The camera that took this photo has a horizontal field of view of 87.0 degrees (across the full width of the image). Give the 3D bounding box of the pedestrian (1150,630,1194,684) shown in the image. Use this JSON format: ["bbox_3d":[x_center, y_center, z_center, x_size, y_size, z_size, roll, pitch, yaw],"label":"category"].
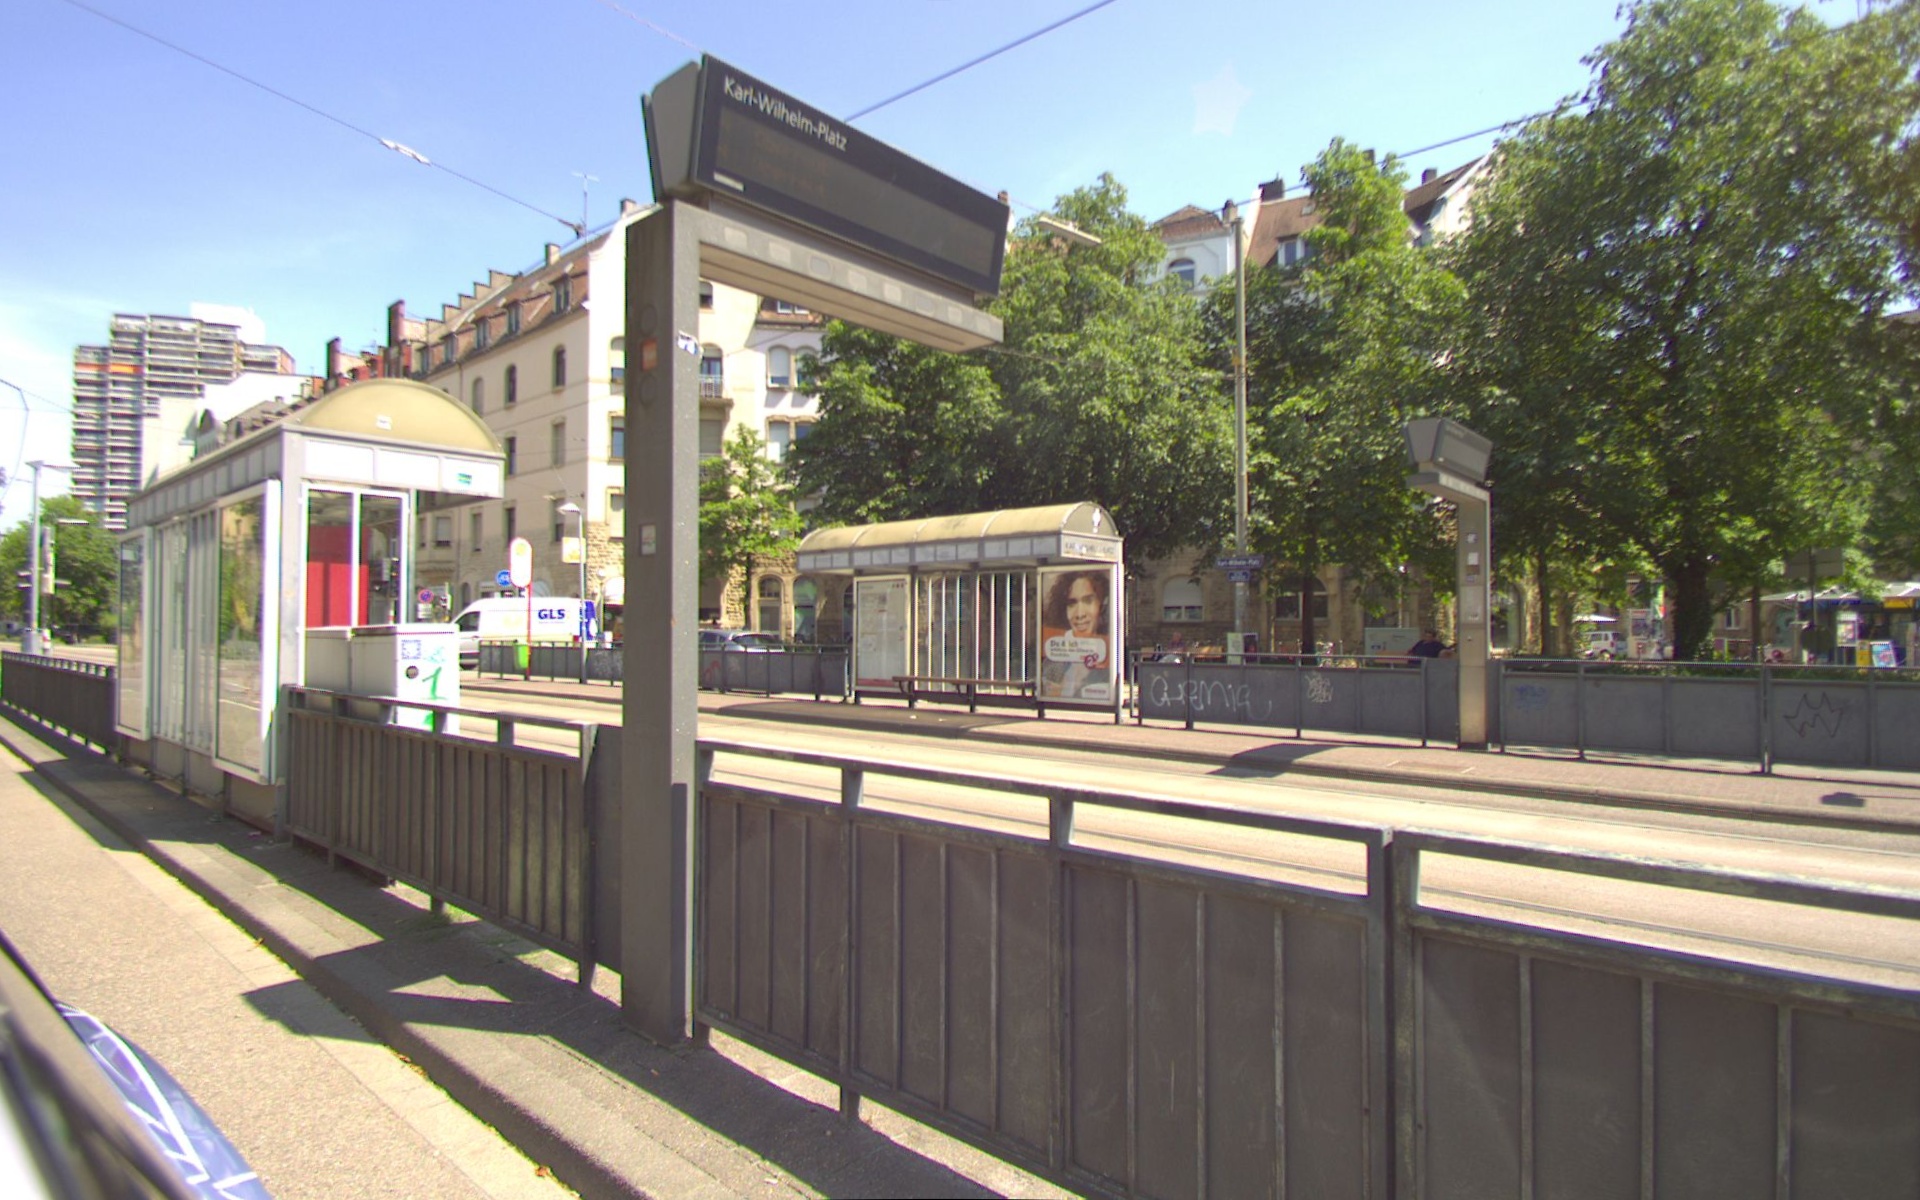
[{"bbox_3d":[5.098,1.356,24.309,0.930,1.253,0.860,-1,0,17],"label":"pedestrian"}]

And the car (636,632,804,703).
[{"bbox_3d":[-5.593,1.489,23.355,3.998,1.404,1.789,-1,0,41],"label":"car"}]

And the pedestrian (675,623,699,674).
[{"bbox_3d":[-8.911,1.572,33.088,0.473,1.659,0.586,-2,-3,41],"label":"pedestrian"}]

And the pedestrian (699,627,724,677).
[{"bbox_3d":[-7.978,1.658,32.489,0.473,1.563,0.586,-2,-3,39],"label":"pedestrian"}]

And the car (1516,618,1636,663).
[{"bbox_3d":[26.725,1.704,44.002,1.966,1.803,4.011,-1,0,-33],"label":"car"}]

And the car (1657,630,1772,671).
[{"bbox_3d":[35.794,2.349,48.094,1.736,1.721,3.998,-1,0,-33],"label":"car"}]

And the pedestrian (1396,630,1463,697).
[{"bbox_3d":[9.287,1.240,20.033,0.852,1.253,0.939,-1,0,-43],"label":"pedestrian"}]

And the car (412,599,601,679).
[{"bbox_3d":[-16.045,1.341,36.046,5.747,2.693,2.274,-1,0,1],"label":"car"}]
